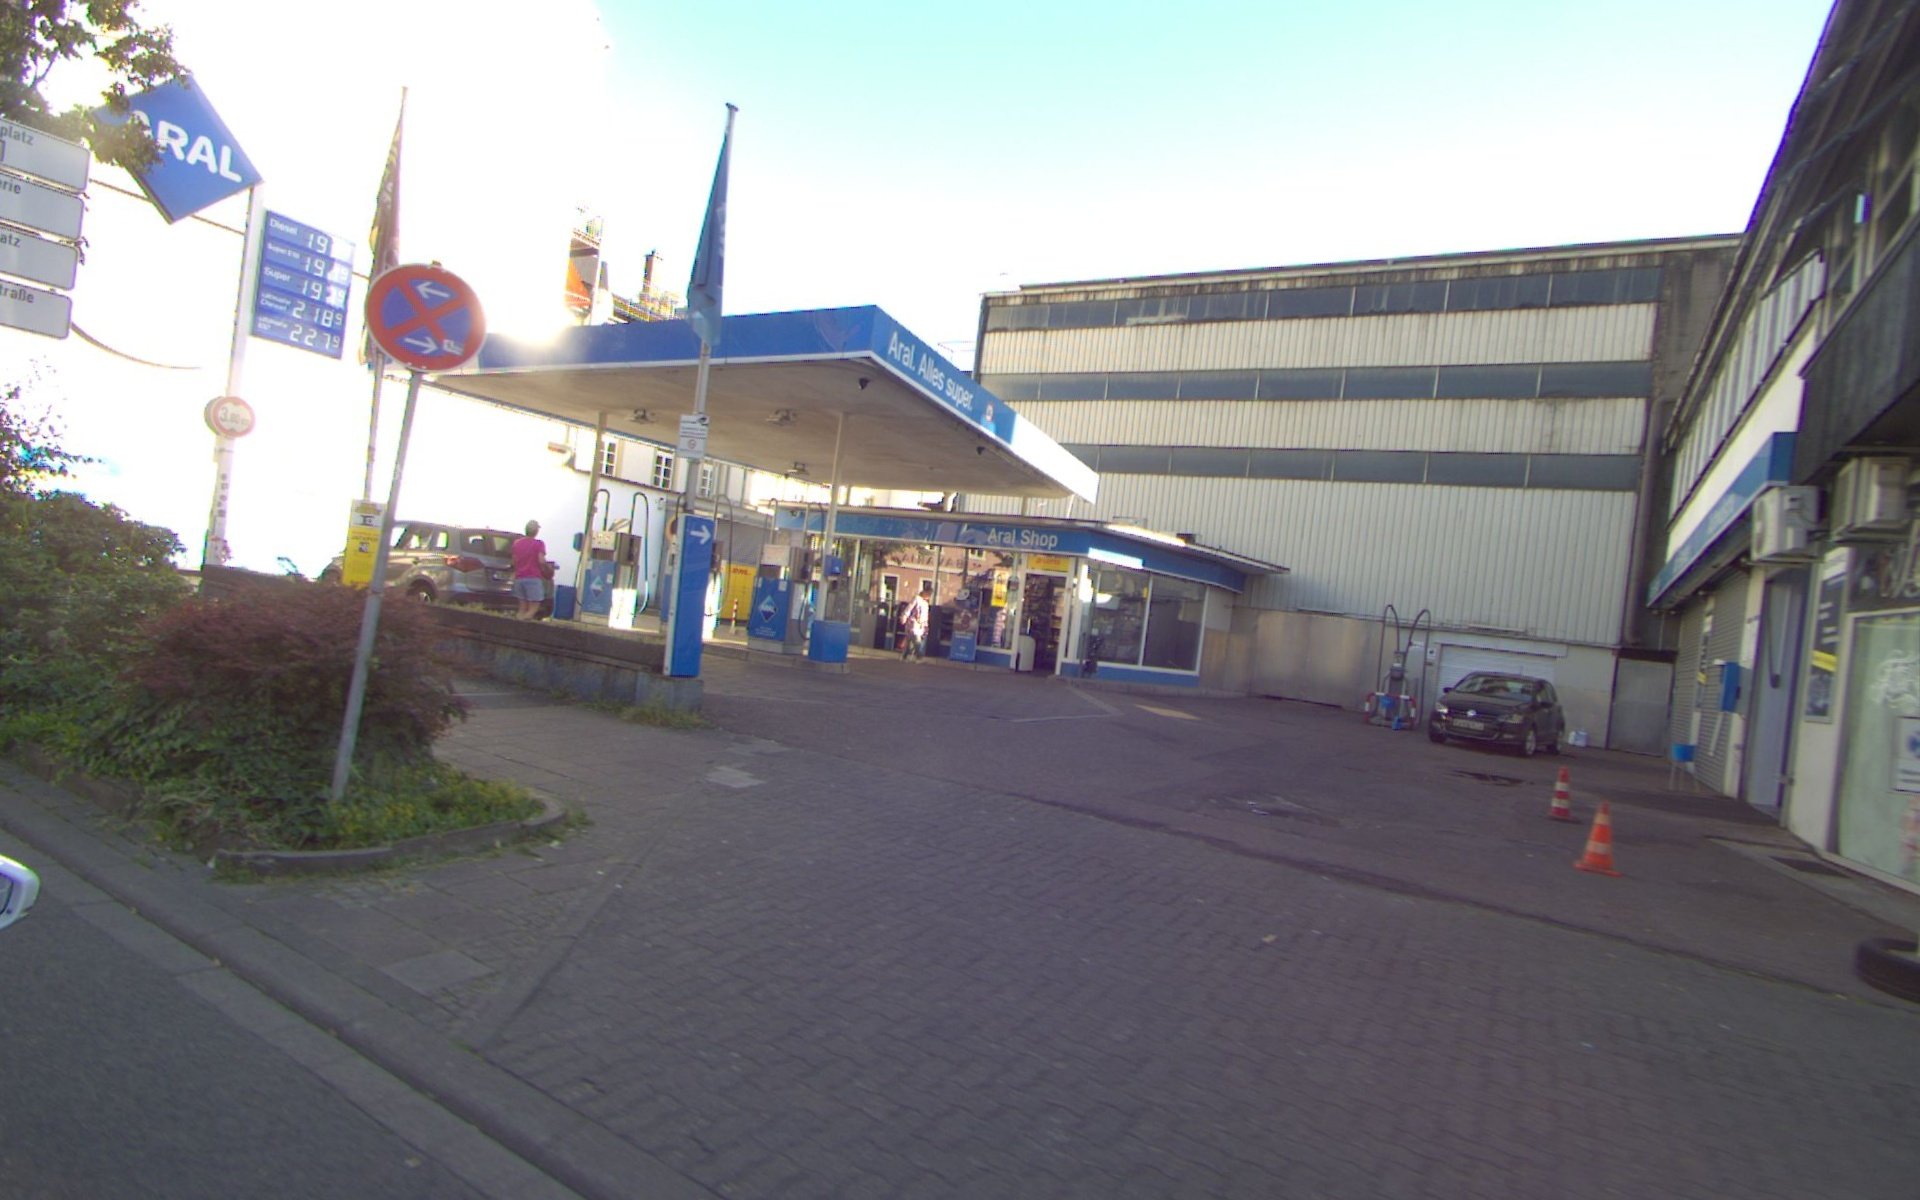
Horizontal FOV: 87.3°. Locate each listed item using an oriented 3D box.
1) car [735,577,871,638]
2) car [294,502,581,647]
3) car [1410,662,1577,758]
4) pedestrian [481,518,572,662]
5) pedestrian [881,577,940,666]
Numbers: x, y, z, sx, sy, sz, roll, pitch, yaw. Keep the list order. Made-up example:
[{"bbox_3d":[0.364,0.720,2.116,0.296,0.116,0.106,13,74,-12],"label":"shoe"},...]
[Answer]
[{"bbox_3d":[-4.878,0.269,31.727,1.968,1.482,3.990,7,0,33],"label":"car"},{"bbox_3d":[-7.932,-0.409,15.178,4.223,1.669,1.902,7,0,33],"label":"car"},{"bbox_3d":[10.128,2.044,18.965,1.880,1.375,3.982,7,0,40],"label":"car"},{"bbox_3d":[-5.943,-0.127,13.810,0.696,1.873,0.688,7,1,15],"label":"pedestrian"},{"bbox_3d":[-1.034,0.471,21.271,0.806,1.763,0.818,7,0,19],"label":"pedestrian"}]
